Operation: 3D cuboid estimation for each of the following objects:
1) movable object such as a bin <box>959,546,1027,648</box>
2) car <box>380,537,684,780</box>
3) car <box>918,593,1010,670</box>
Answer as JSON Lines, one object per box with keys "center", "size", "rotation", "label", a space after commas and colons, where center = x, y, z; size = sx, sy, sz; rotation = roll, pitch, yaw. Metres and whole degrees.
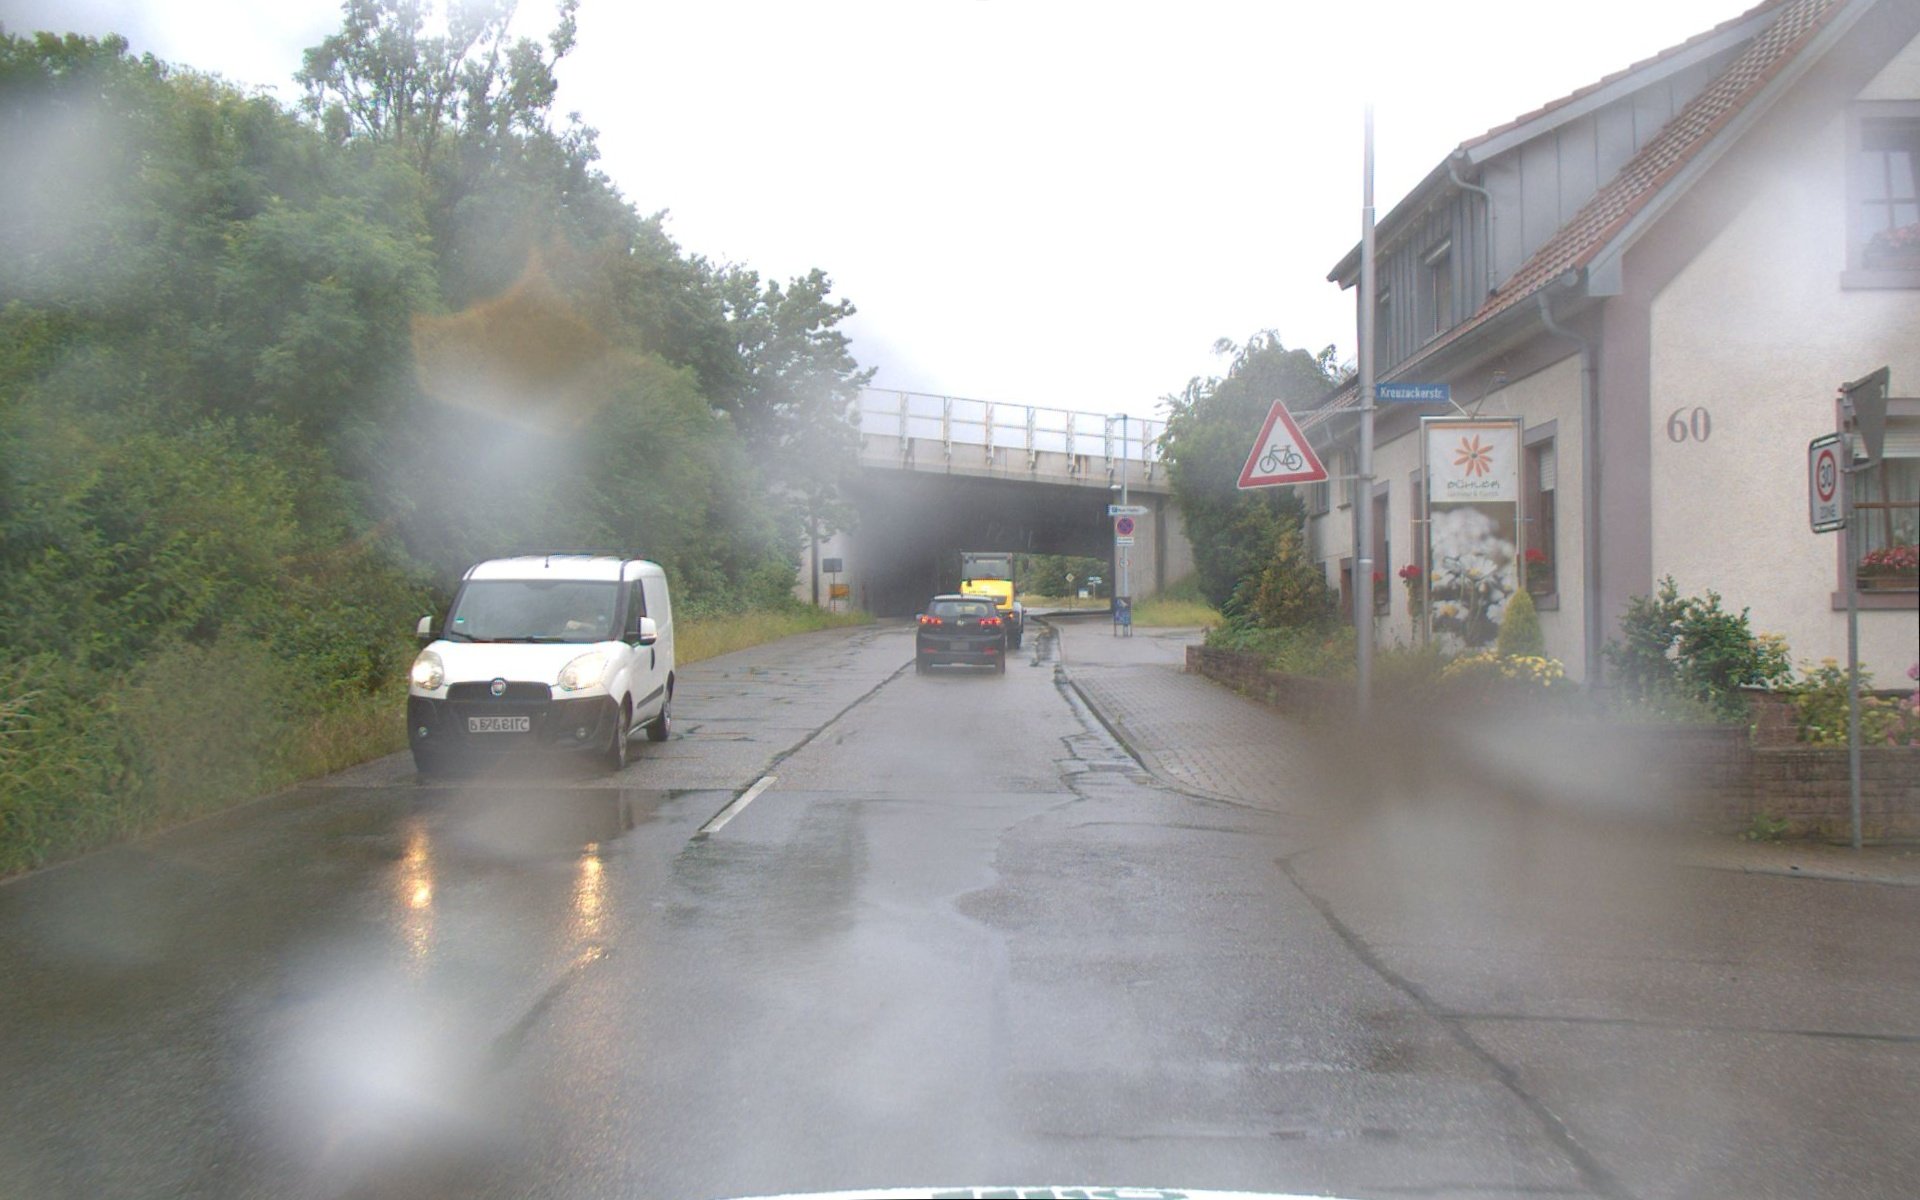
{"center": [0.879, -0.087, 44.365], "size": [1.725, 2.592, 4.239], "rotation": [1, 0, 1], "label": "movable object such as a bin"}
{"center": [-3.646, 0.442, 14.872], "size": [1.787, 1.864, 4.305], "rotation": [0, 0, -3], "label": "car"}
{"center": [0.113, 0.573, 32.227], "size": [1.673, 1.401, 4.001], "rotation": [1, 0, 1], "label": "car"}
